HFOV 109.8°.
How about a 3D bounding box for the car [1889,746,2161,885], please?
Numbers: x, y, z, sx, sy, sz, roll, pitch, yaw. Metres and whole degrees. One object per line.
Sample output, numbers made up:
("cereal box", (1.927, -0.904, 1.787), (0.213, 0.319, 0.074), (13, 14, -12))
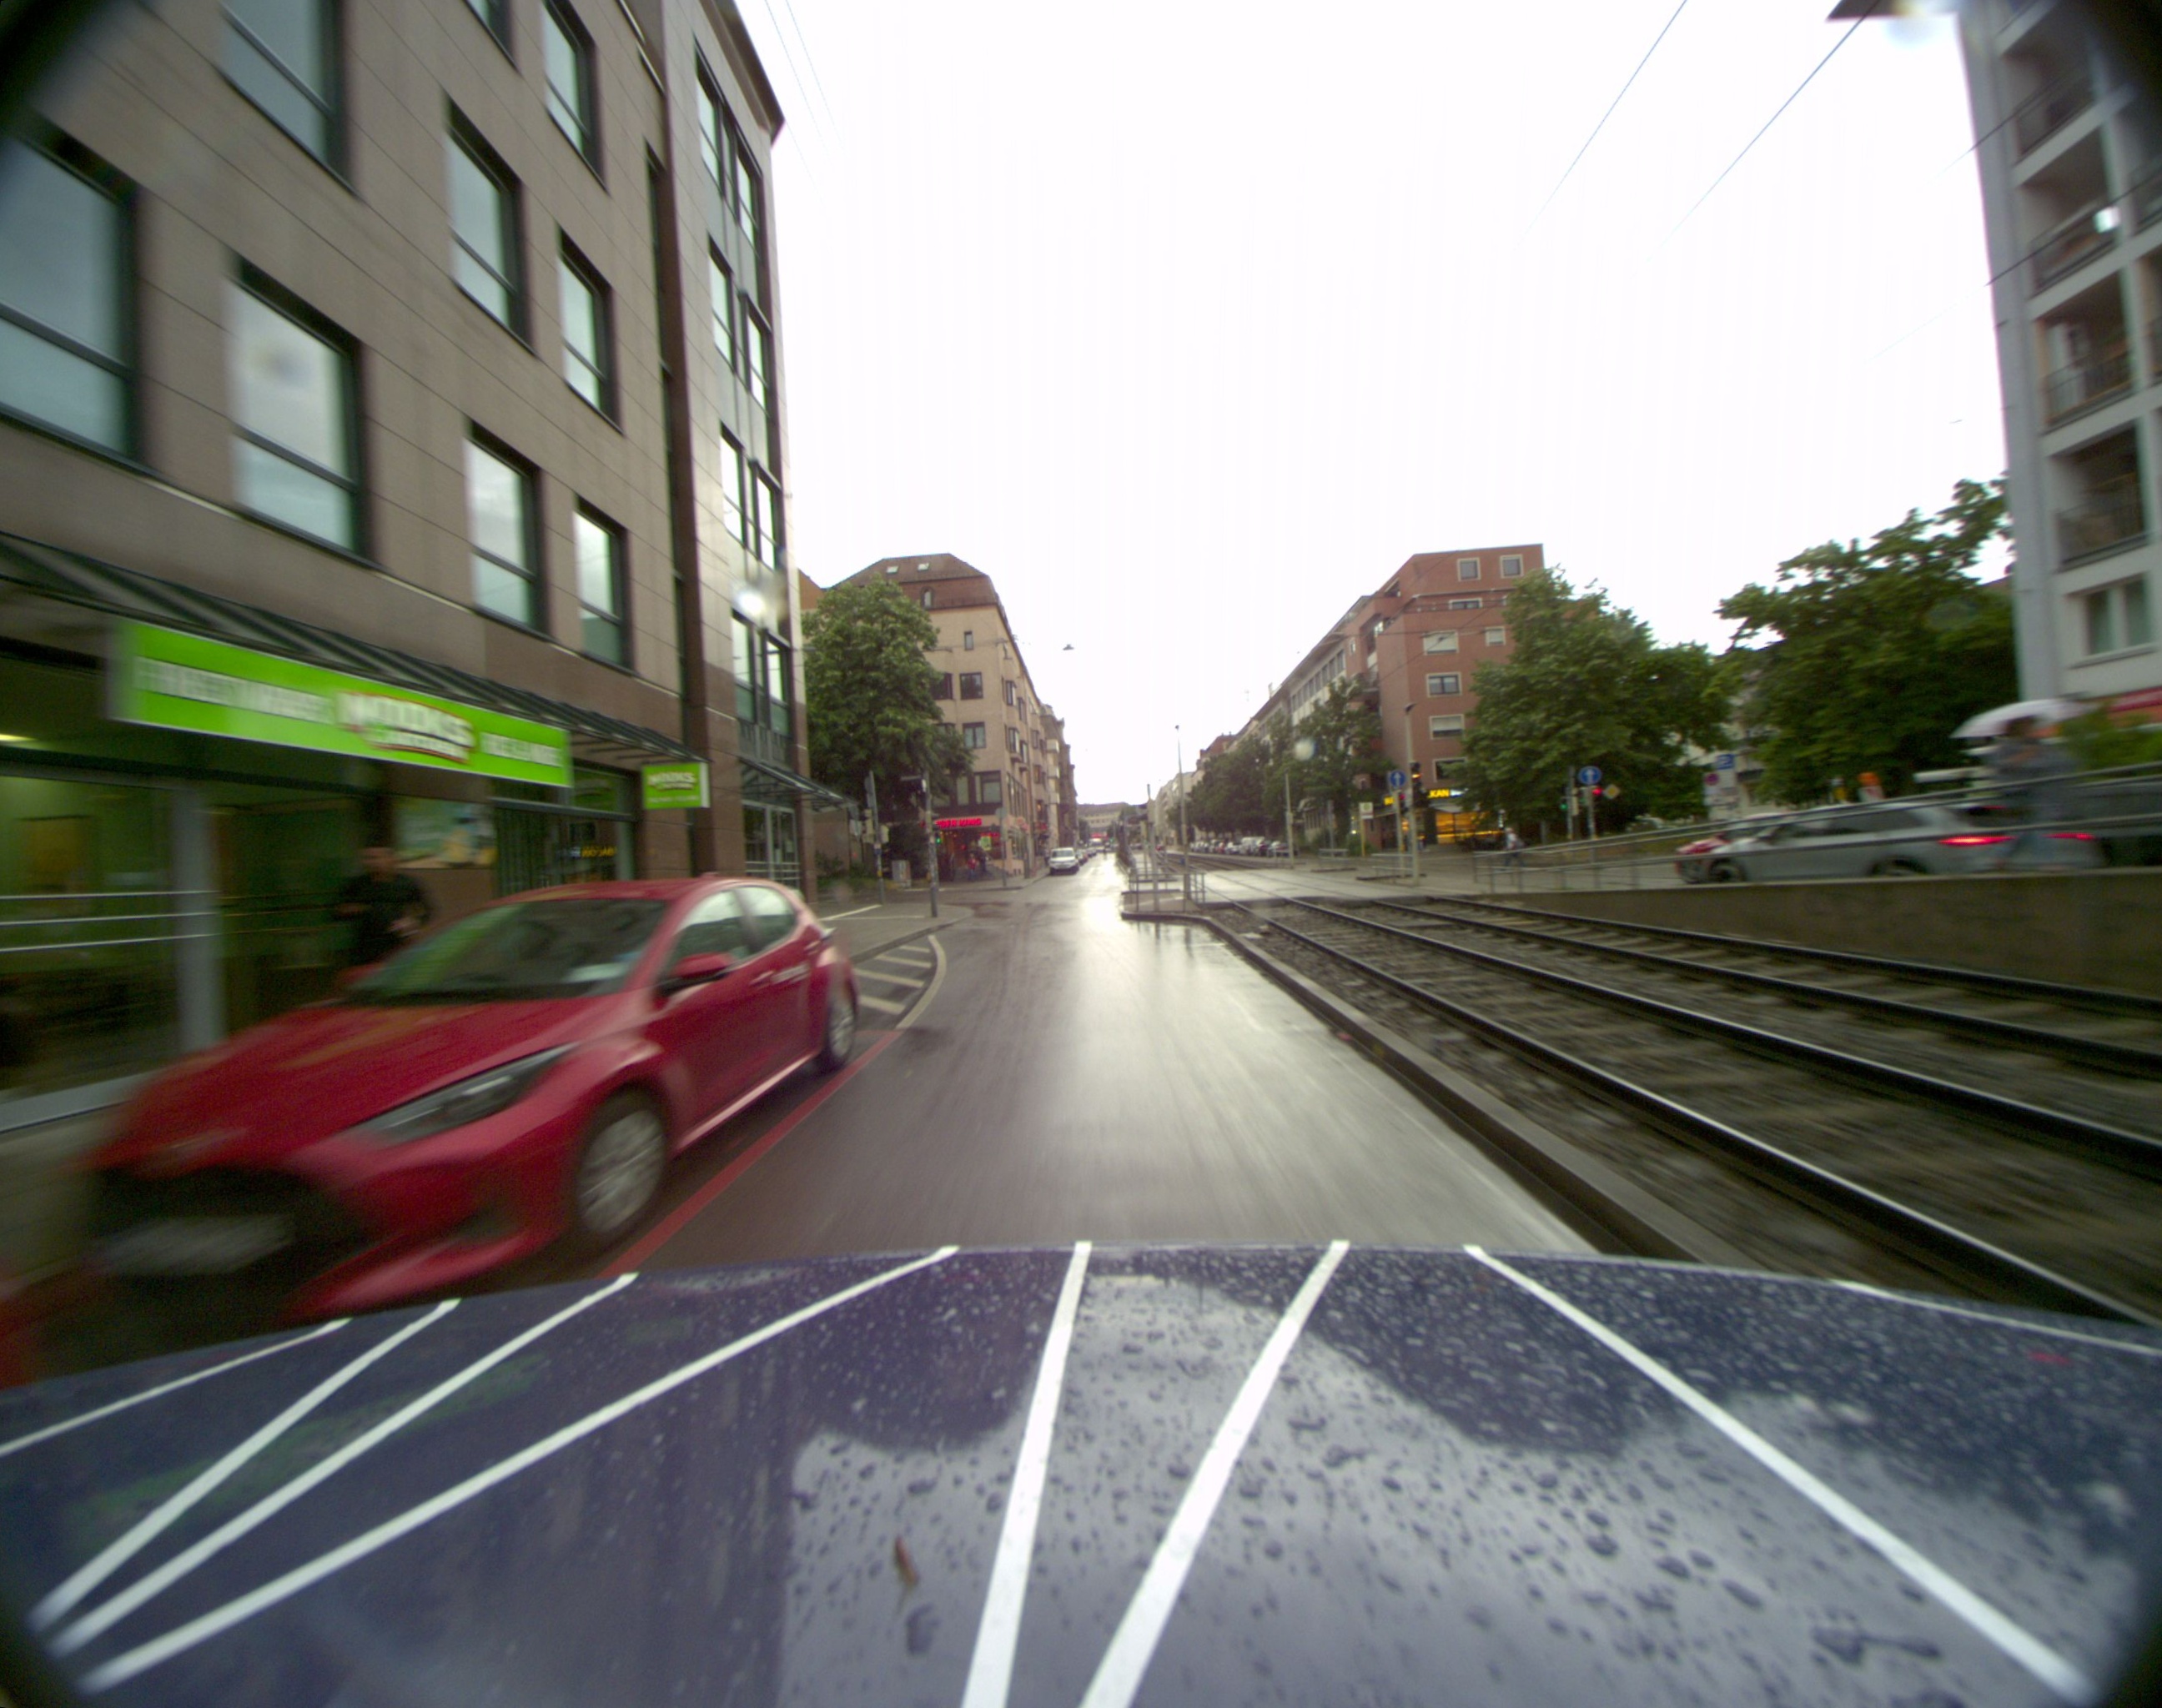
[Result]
("car", (15.189, -0.584, 11.299), (1.711, 1.848, 4.320), (-4, 1, 0))

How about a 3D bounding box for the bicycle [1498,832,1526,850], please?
("bicycle", (23.898, -0.735, 42.142), (0.481, 0.954, 1.873), (-3, 2, 2))

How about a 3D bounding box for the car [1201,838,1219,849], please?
("car", (17.763, -1.473, 105.012), (1.642, 1.432, 4.728), (-4, 2, 1))

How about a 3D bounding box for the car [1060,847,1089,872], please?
("car", (-0.435, 0.373, 58.120), (1.911, 1.606, 4.413), (-4, 2, 3))

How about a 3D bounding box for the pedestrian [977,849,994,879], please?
("pedestrian", (-5.793, 0.615, 46.128), (0.665, 1.810, 0.597), (-1, 3, 43))

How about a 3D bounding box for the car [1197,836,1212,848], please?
("car", (17.963, -1.790, 110.342), (1.642, 1.529, 4.022), (-4, 2, 3))

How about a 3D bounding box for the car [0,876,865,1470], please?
("car", (-2.707, 0.996, 4.126), (1.702, 1.471, 3.867), (-2, 2, 4))

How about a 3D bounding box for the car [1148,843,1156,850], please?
("car", (17.391, -1.847, 186.527), (1.643, 1.331, 3.734), (-4, 2, 1))

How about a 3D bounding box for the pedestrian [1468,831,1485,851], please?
("pedestrian", (23.990, -0.812, 46.076), (0.677, 1.171, 0.608), (-3, 2, 8))

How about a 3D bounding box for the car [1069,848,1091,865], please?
("car", (-0.077, 0.249, 75.956), (1.911, 1.454, 4.244), (-4, 2, 2))

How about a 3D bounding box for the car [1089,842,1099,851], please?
("car", (2.302, -1.372, 136.707), (1.588, 1.343, 3.977), (-4, 2, 1))

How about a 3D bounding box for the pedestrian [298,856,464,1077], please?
("pedestrian", (-5.614, 0.869, 6.131), (0.603, 1.650, 0.625), (-3, 2, 2))

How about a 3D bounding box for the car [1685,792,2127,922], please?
("car", (12.600, -0.012, 12.279), (1.811, 1.569, 5.020), (-4, 1, 3))

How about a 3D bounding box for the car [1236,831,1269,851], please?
("car", (17.220, -1.303, 76.495), (1.912, 1.834, 5.255), (-4, 2, -2))

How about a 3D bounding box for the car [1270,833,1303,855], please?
("car", (17.336, -0.867, 64.280), (1.642, 1.615, 4.370), (-4, 2, 3))

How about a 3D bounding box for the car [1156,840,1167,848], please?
("car", (17.125, -2.103, 161.996), (1.696, 1.454, 4.529), (-4, 2, -1))

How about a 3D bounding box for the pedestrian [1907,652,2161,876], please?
("pedestrian", (9.685, -0.851, 7.696), (1.119, 2.002, 1.383), (-3, 2, 2))

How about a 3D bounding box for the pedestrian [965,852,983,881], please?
("pedestrian", (-6.313, 0.728, 44.948), (0.723, 1.640, 0.626), (-1, 3, 43))

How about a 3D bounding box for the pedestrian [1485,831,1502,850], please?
("pedestrian", (25.384, -0.826, 46.704), (0.679, 1.171, 0.607), (-5, 2, -30))

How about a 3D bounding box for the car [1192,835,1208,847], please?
("car", (18.247, -1.995, 116.418), (1.662, 1.575, 4.337), (-4, 2, 1))

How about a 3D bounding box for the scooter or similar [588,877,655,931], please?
("scooter or similar", (-11.035, 1.196, 18.250), (1.377, 1.220, 0.325), (-3, 2, 5))

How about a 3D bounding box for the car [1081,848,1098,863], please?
("car", (0.980, 0.173, 85.032), (1.649, 1.454, 3.413), (-4, 2, 3))

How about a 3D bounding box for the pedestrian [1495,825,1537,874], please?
("pedestrian", (15.912, -0.176, 27.826), (0.821, 1.688, 0.985), (-6, 2, -6))

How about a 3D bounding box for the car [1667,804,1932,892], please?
("car", (15.595, -0.149, 16.922), (1.730, 1.602, 4.553), (-3, 1, 3))

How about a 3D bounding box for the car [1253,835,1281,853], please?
("car", (17.155, -0.956, 70.379), (1.642, 1.528, 4.370), (-4, 2, 3))

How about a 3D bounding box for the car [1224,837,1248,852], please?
("car", (17.472, -1.099, 85.672), (1.696, 1.454, 4.529), (-4, 2, -1))

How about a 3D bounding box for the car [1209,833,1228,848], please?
("car", (17.925, -1.756, 99.450), (1.678, 1.807, 4.431), (-4, 2, 1))

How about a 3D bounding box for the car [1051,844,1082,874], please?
("car", (-0.961, 0.317, 52.453), (1.911, 1.796, 4.776), (-4, 2, 0))

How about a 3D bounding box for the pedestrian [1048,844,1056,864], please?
("pedestrian", (-2.710, 0.020, 70.725), (0.530, 1.848, 0.556), (-4, 2, -5))

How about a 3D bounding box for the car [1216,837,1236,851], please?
("car", (17.859, -1.289, 93.688), (1.642, 1.530, 3.803), (-4, 2, 1))

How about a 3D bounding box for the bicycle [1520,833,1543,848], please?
("bicycle", (24.942, -0.771, 42.063), (0.340, 0.811, 1.646), (-3, 2, 2))

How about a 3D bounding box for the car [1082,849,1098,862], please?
("car", (1.091, 0.161, 92.187), (1.720, 1.454, 3.444), (-4, 2, 3))
